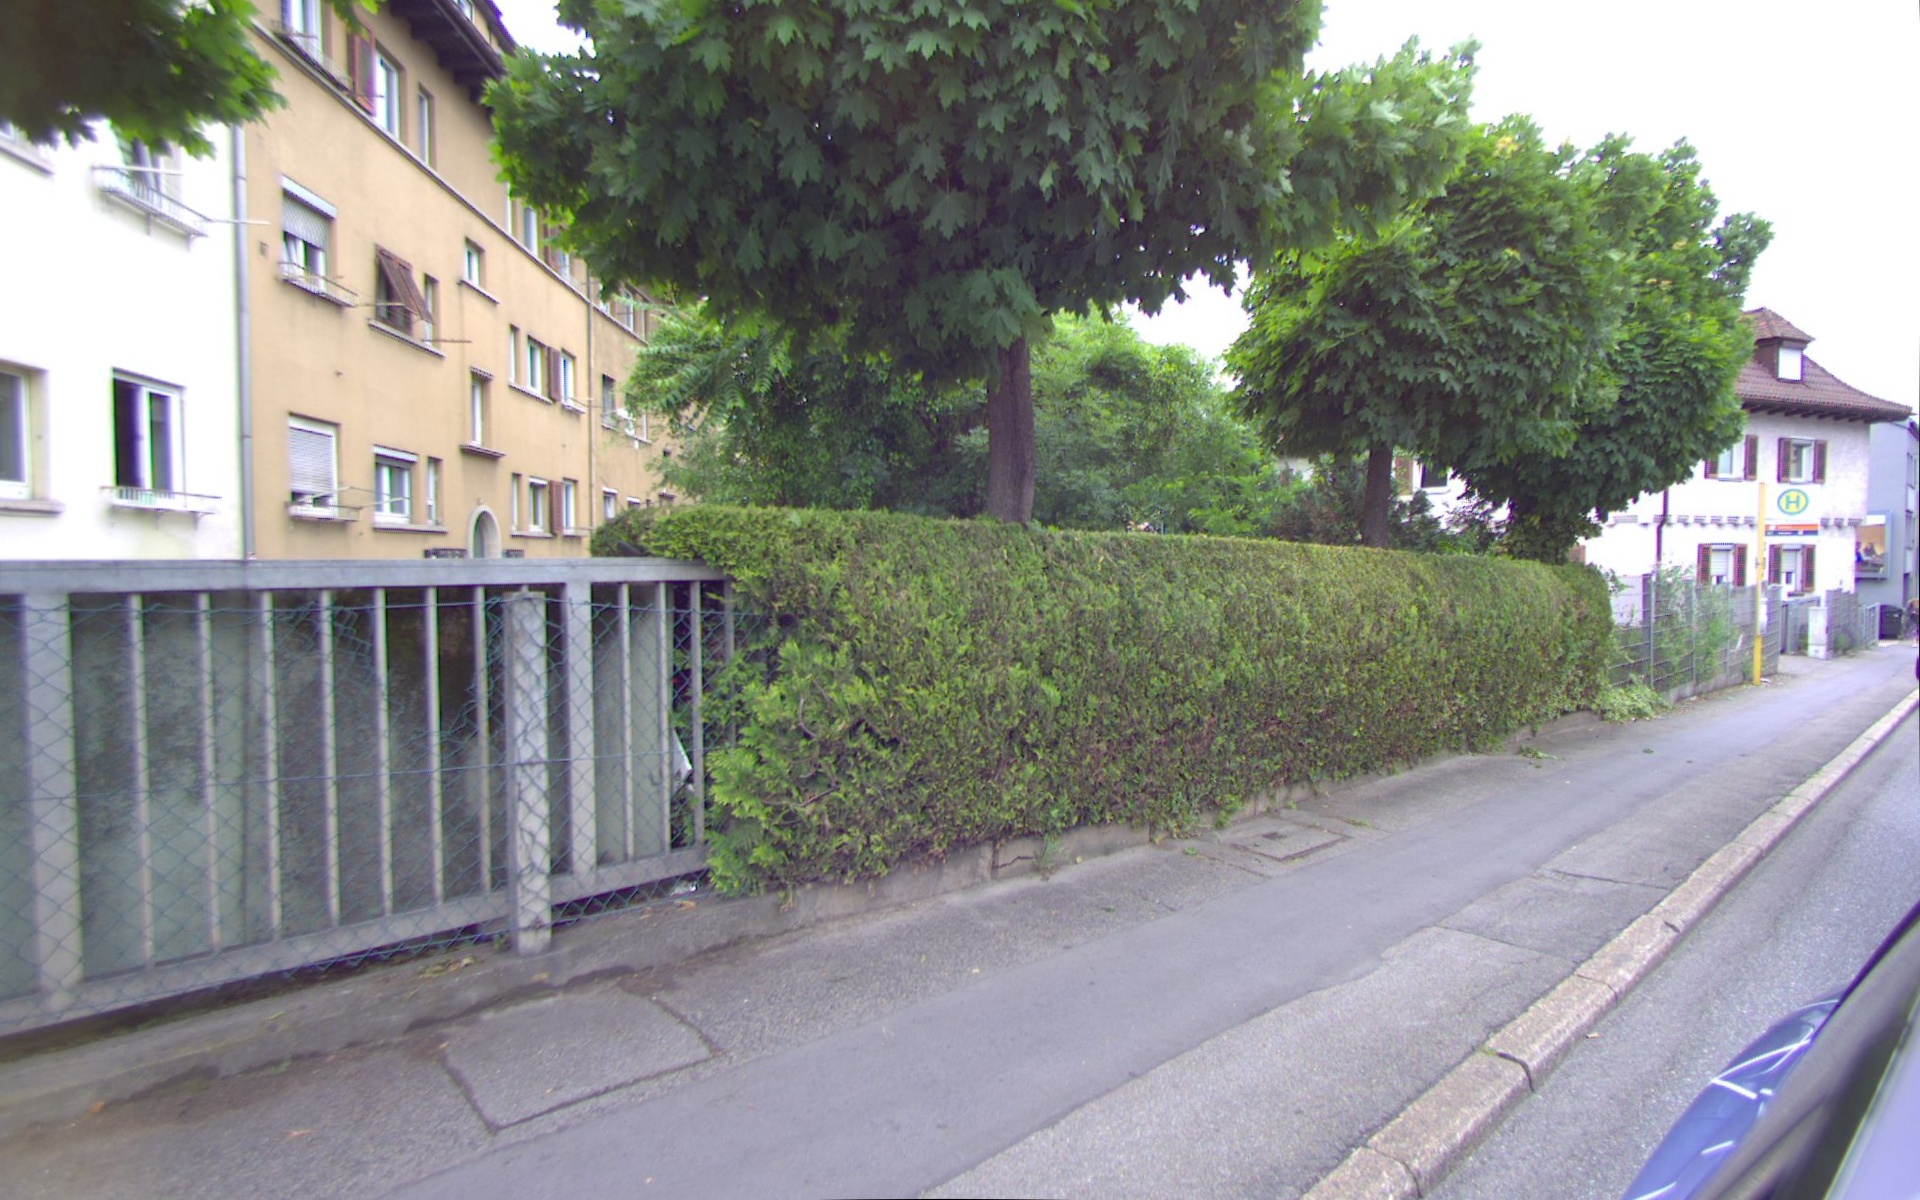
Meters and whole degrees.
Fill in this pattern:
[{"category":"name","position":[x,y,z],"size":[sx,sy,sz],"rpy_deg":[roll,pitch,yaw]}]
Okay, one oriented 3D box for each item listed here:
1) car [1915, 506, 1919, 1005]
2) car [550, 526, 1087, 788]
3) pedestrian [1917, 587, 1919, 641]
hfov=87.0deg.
[{"category":"car","position":[5.807,0.542,4.468],"size":[4.629,1.804,1.861],"rpy_deg":[-1,0,-41]},{"category":"car","position":[-1.014,0.302,7.088],"size":[3.367,1.478,1.705],"rpy_deg":[0,0,-20]},{"category":"pedestrian","position":[33.741,0.501,35.110],"size":[0.581,1.863,0.648],"rpy_deg":[1,0,-34]}]
